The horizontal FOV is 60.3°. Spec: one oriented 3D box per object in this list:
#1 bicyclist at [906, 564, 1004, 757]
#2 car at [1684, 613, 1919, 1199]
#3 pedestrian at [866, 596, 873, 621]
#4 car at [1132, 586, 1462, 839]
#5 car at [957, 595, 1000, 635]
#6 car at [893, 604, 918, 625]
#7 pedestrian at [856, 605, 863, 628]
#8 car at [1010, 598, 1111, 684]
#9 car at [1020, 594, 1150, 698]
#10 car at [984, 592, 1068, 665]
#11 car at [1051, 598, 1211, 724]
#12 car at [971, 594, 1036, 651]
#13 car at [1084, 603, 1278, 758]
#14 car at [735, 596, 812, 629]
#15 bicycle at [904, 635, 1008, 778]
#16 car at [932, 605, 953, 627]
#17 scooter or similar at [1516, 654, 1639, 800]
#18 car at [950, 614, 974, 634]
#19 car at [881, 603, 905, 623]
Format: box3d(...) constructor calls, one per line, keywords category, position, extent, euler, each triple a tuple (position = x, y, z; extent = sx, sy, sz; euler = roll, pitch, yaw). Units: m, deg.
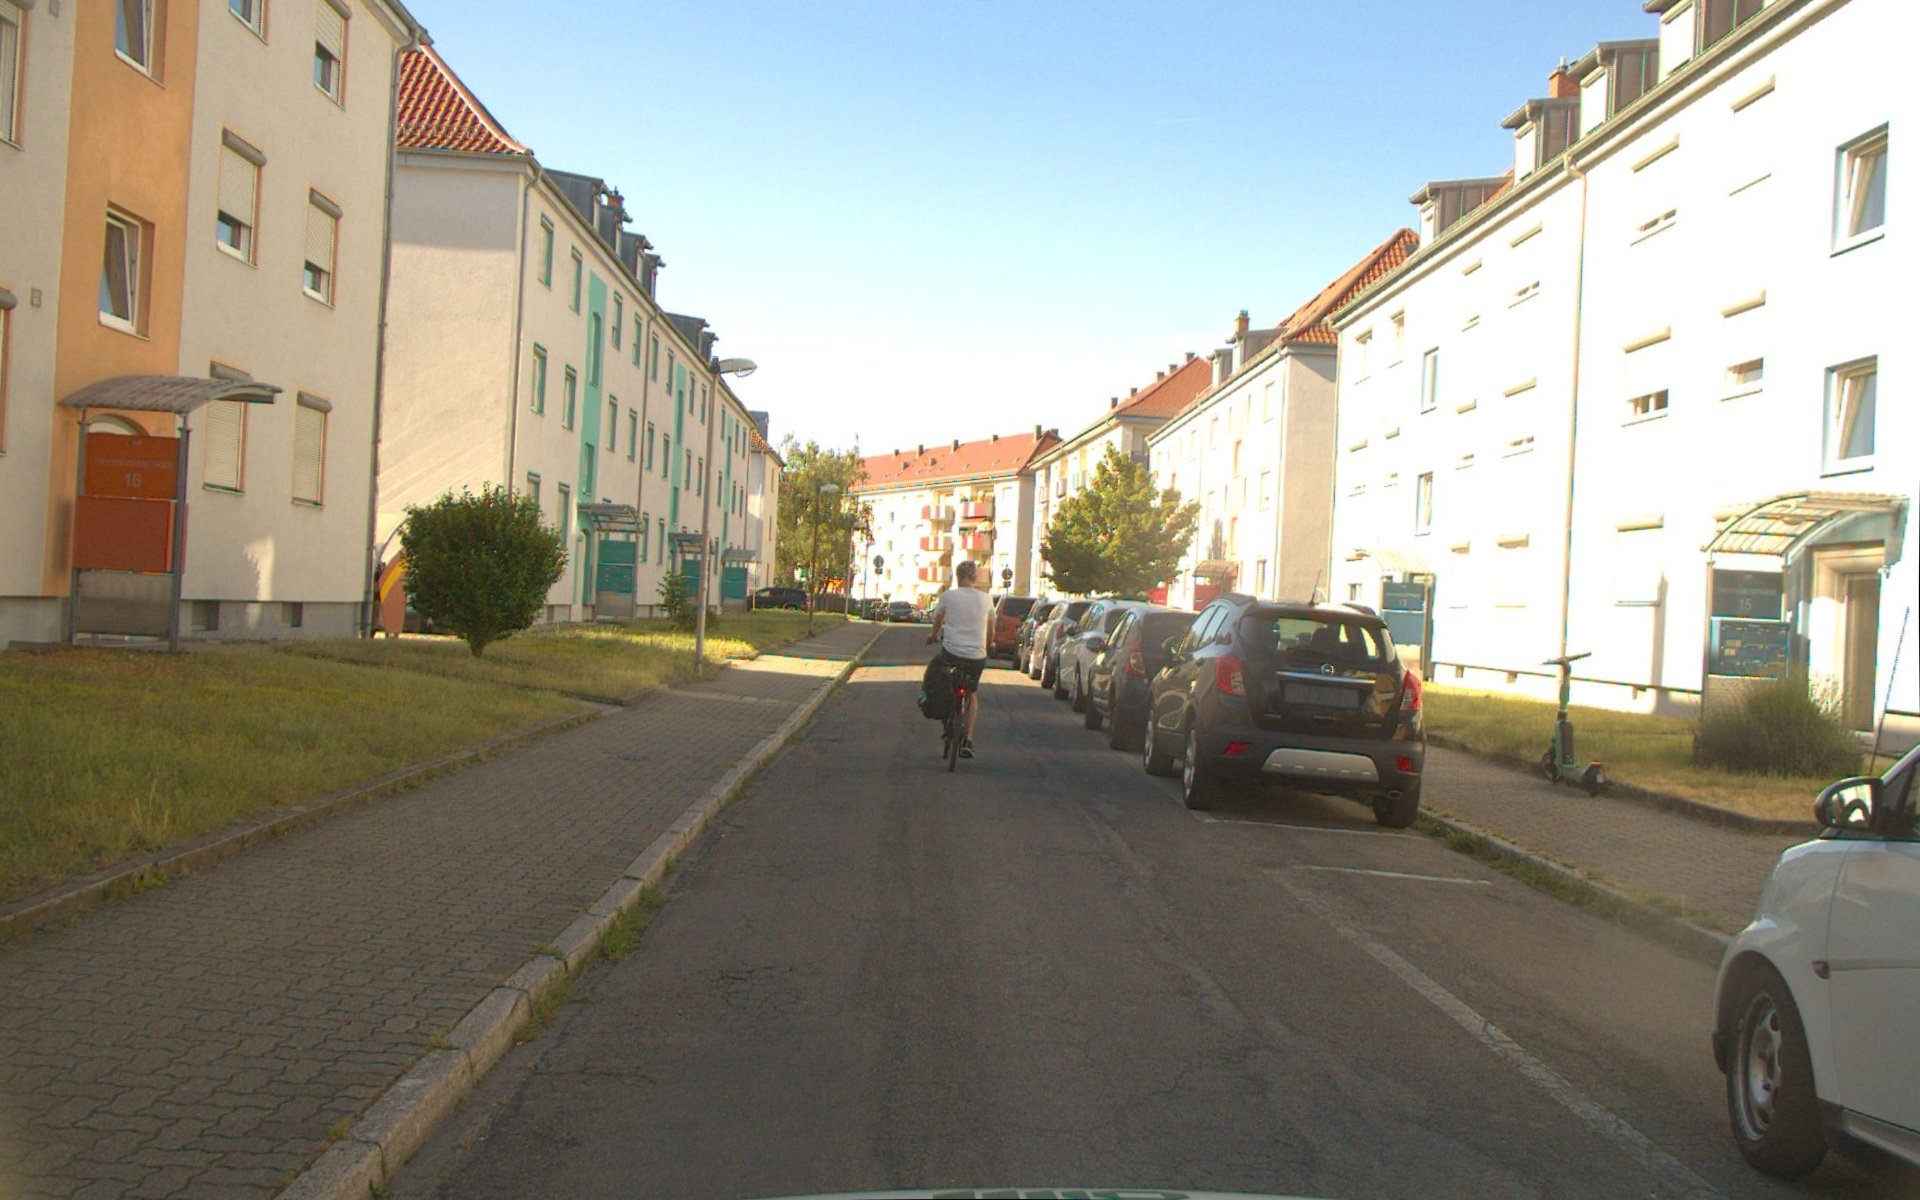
box3d(category="bicyclist", position=(-0.061, 0.532, 14.944), extent=(0.793, 1.672, 0.898), euler=(1, 0, -4))
box3d(category="car", position=(3.043, 0.871, 3.824), extent=(1.449, 1.555, 2.941), euler=(4, 0, 2))
box3d(category="pedestrian", position=(-5.846, 0.570, 106.784), extent=(0.425, 1.602, 0.543), euler=(1, 0, -2))
box3d(category="car", position=(2.632, 0.797, 13.990), extent=(1.747, 1.676, 4.468), euler=(4, 0, -1))
box3d(category="car", position=(0.834, 0.676, 77.669), extent=(1.641, 1.769, 3.940), euler=(3, 0, -3))
box3d(category="car", position=(-3.641, 0.950, 110.606), extent=(1.441, 1.359, 3.137), euler=(-1, 0, -6))
box3d(category="pedestrian", position=(-6.486, 1.044, 106.677), extent=(0.425, 1.452, 0.542), euler=(1, 0, -2))
box3d(category="car", position=(2.116, 0.832, 35.942), extent=(1.678, 1.623, 4.396), euler=(5, 0, -2))
box3d(category="car", position=(2.236, 0.788, 30.734), extent=(1.716, 1.645, 4.449), euler=(5, 0, -3))
box3d(category="car", position=(1.680, 0.726, 43.593), extent=(1.824, 1.697, 4.125), euler=(4, 0, -2))
box3d(category="car", position=(2.447, 0.825, 24.691), extent=(1.657, 1.602, 4.432), euler=(4, 0, -2))
box3d(category="car", position=(1.391, 0.703, 54.173), extent=(1.667, 1.700, 4.377), euler=(4, 0, -3))
box3d(category="car", position=(2.426, 0.830, 19.082), extent=(1.608, 1.524, 4.156), euler=(2, 0, -1))
box3d(category="car", position=(-10.332, 0.674, 91.632), extent=(4.149, 1.667, 1.581), euler=(2, 0, -6))
box3d(category="bicycle", position=(-0.067, 0.921, 15.006), extent=(0.792, 1.148, 2.100), euler=(1, 0, -4))
box3d(category="car", position=(-1.336, 1.234, 127.143), extent=(1.354, 1.523, 3.075), euler=(3, 0, -4))
box3d(category="scooter or similar", position=(5.483, 1.097, 14.762), extent=(0.474, 1.169, 1.588), euler=(-1, 0, -1))
box3d(category="car", position=(0.125, 1.726, 120.254), extent=(1.440, 1.358, 3.139), euler=(3, 0, -4))
box3d(category="car", position=(-4.655, 0.904, 114.927), extent=(1.441, 1.358, 3.137), euler=(-1, 0, -5))
